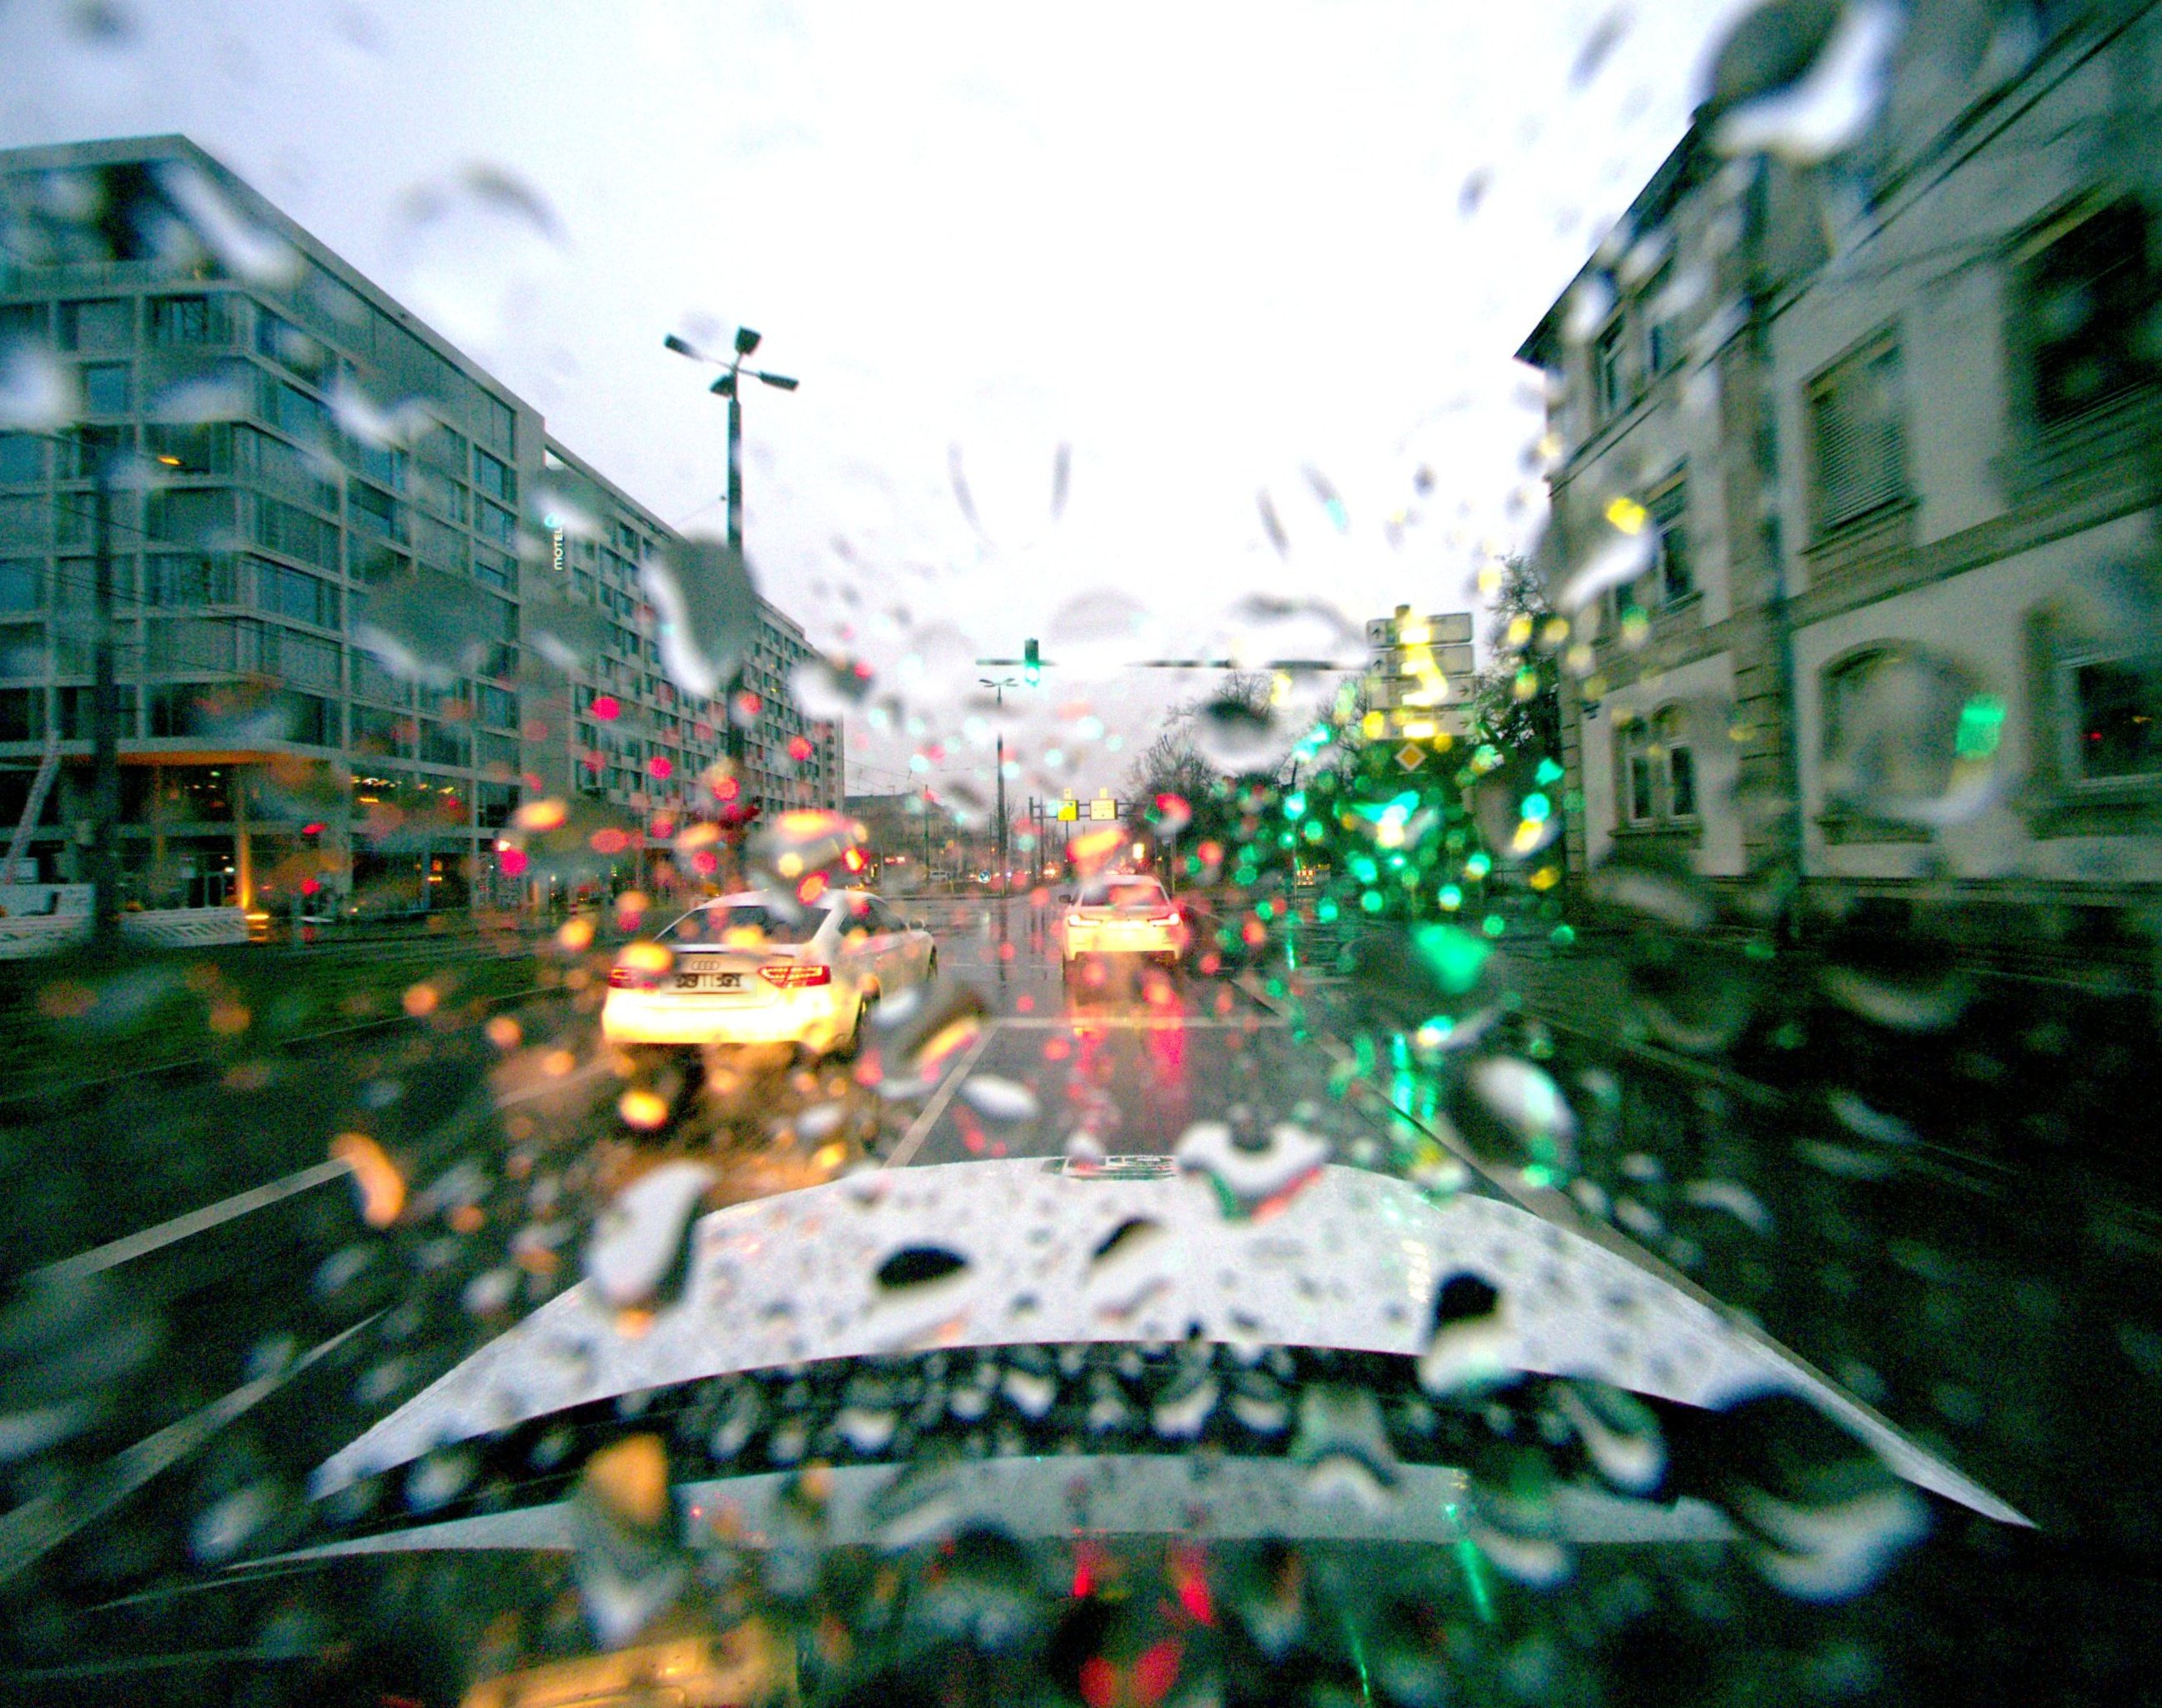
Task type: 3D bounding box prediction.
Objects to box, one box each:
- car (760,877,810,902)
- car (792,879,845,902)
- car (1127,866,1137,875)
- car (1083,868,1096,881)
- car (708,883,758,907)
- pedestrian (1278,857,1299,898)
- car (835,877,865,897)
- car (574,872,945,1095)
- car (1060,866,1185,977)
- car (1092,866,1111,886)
[{"bbox_3d":[-21.732,2.583,59.993,1.874,1.789,4.600,0,-1,2],"label":"car"},{"bbox_3d":[-18.686,2.580,58.296,1.986,1.462,5.097,0,-1,2],"label":"car"},{"bbox_3d":[10.805,3.477,171.824,1.986,2.014,4.001,0,-1,2],"label":"car"},{"bbox_3d":[1.396,3.171,128.007,1.986,2.014,4.001,0,-1,2],"label":"car"},{"bbox_3d":[-25.216,2.948,59.167,1.875,1.574,4.000,0,-1,0],"label":"car"},{"bbox_3d":[9.688,1.085,38.102,0.674,1.879,0.711,0,-2,-15],"label":"pedestrian"},{"bbox_3d":[-18.513,2.603,65.319,1.995,1.462,5.072,0,-1,-12],"label":"car"},{"bbox_3d":[-2.492,0.907,7.564,1.754,1.470,4.250,0,-1,0],"label":"car"},{"bbox_3d":[0.533,0.988,13.579,1.755,1.553,4.248,0,-1,-2],"label":"car"},{"bbox_3d":[2.163,2.279,85.551,1.986,2.014,4.001,0,-1,2],"label":"car"}]
